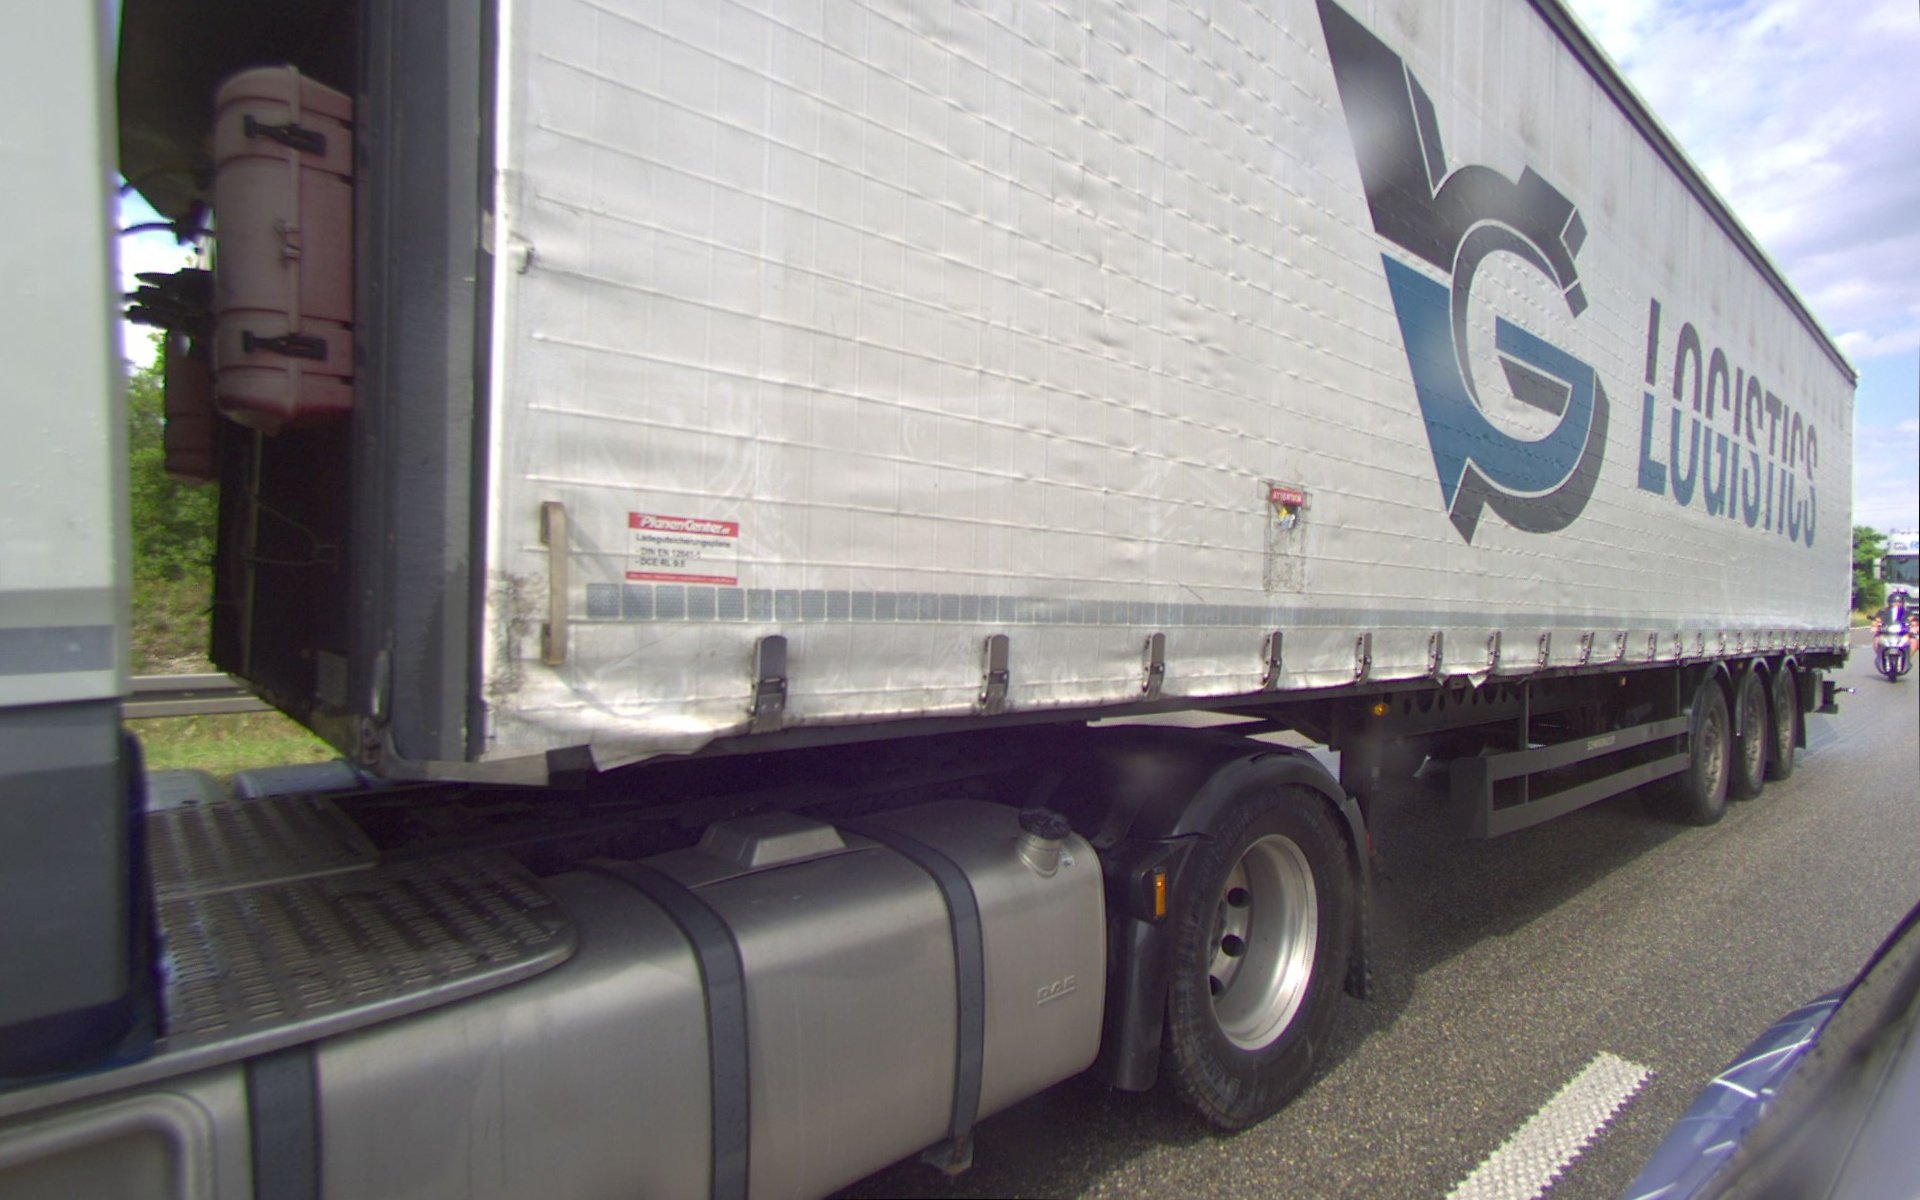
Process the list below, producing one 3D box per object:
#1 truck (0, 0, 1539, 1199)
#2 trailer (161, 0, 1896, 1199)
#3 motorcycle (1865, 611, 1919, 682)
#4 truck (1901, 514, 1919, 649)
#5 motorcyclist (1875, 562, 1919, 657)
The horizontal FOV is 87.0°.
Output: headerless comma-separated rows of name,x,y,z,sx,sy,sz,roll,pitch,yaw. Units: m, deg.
truck,-1.418,-0.587,2.603,6.287,3.940,3.288,0,0,-42
trailer,3.436,-0.606,6.986,13.887,3.948,3.288,0,0,-42
motorcycle,17.825,0.829,18.925,3.143,1.163,1.185,-1,1,-45
truck,33.645,-0.627,34.077,6.773,4.328,2.644,-1,1,-45
motorcyclist,17.675,0.169,18.854,0.984,1.728,0.882,0,0,-44
